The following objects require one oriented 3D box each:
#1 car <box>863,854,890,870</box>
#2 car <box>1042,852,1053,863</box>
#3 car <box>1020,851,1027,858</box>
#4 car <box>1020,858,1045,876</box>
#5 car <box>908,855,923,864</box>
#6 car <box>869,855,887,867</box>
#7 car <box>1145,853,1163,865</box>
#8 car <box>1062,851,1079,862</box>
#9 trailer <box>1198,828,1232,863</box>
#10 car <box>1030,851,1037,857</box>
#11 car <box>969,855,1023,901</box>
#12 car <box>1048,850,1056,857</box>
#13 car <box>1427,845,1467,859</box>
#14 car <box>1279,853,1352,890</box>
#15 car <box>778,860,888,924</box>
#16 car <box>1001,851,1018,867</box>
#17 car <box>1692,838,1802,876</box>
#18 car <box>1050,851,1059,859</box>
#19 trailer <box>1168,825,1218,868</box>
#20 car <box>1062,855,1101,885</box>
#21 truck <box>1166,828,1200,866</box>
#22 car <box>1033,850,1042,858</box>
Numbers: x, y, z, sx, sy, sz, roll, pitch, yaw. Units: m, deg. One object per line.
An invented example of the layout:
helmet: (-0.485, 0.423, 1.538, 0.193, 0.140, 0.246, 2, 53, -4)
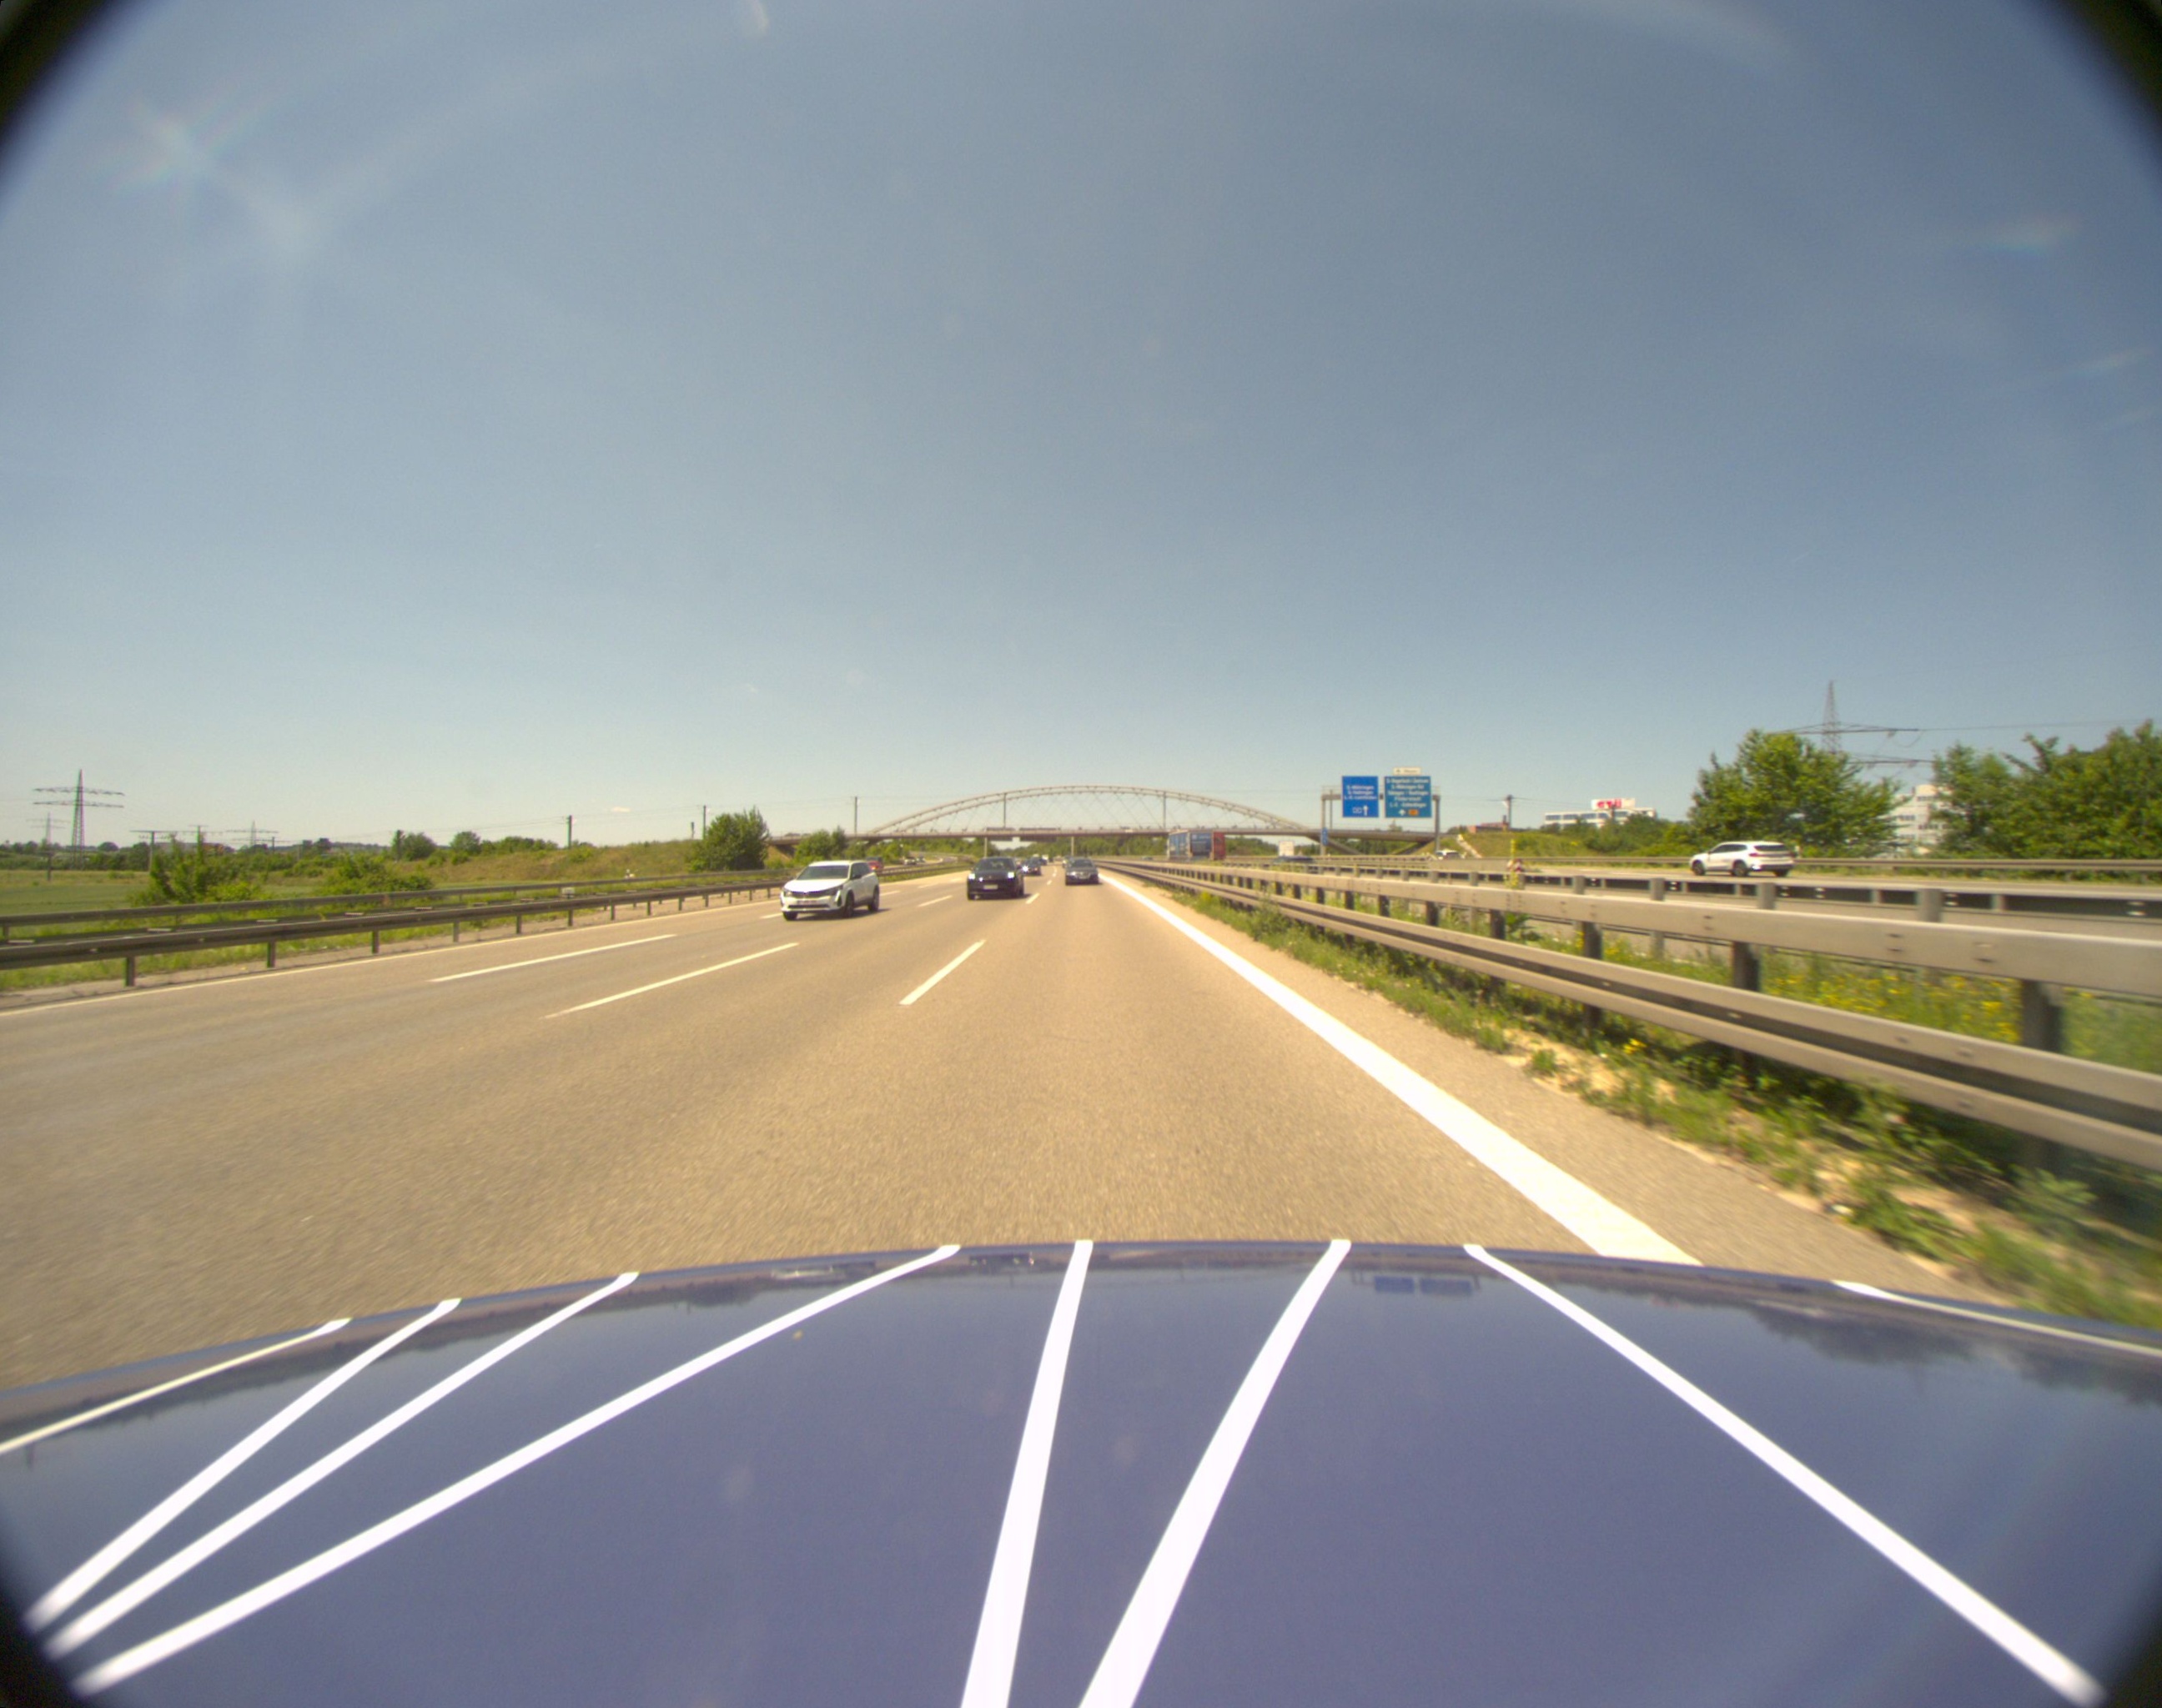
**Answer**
car: (-22.153, 0.880, 82.269, 1.704, 1.566, 4.128, -2, 1, 1)
car: (-5.980, 0.643, 136.904, 1.925, 1.761, 3.999, -2, 1, -2)
car: (-18.314, 0.149, 242.251, 1.998, 2.002, 4.000, -2, 1, 1)
car: (-4.024, 1.051, 63.709, 1.932, 1.390, 4.116, -2, 1, -1)
car: (-30.682, 1.096, 141.011, 1.704, 1.566, 4.127, -2, 1, 0)
car: (-27.000, 0.887, 101.126, 1.705, 1.566, 4.125, -2, 1, -6)
car: (9.292, 0.635, 97.554, 1.872, 1.455, 4.638, -1, 0, 0)
car: (-1.420, 0.372, 101.974, 1.932, 1.390, 4.115, -2, 1, -4)
trailer: (17.009, -1.062, 96.979, 2.566, 4.081, 8.713, -2, 1, -1)
car: (-16.137, 0.027, 258.841, 1.998, 2.002, 4.000, -2, 1, 1)
car: (-3.304, 0.875, 29.959, 1.932, 1.586, 4.129, -2, 1, -5)
car: (-8.541, -0.170, 224.097, 1.998, 2.002, 4.000, -2, 1, 1)
car: (34.280, -0.187, 71.333, 1.682, 1.196, 4.402, -1, 0, 0)
car: (9.979, 0.699, 32.644, 1.682, 1.455, 4.704, -1, 0, 0)
car: (-7.234, 1.041, 22.721, 1.748, 1.582, 4.619, -2, 1, 0)
car: (-8.777, 0.607, 93.523, 1.809, 1.908, 4.293, -2, 1, -3)
car: (30.609, 0.132, 35.116, 1.681, 1.603, 4.405, -1, 0, 8)
car: (-6.566, 0.309, 188.957, 1.998, 1.849, 3.999, -2, 1, 0)
trailer: (12.451, -0.822, 86.122, 2.953, 4.317, 14.616, -2, 0, -1)
car: (0.085, 0.848, 42.112, 1.931, 1.499, 4.391, -2, 1, 2)
truck: (12.294, -0.853, 92.377, 2.935, 4.319, 6.914, -2, 1, -1)
car: (-12.080, -0.078, 211.529, 1.998, 2.002, 4.000, -2, 1, 1)
